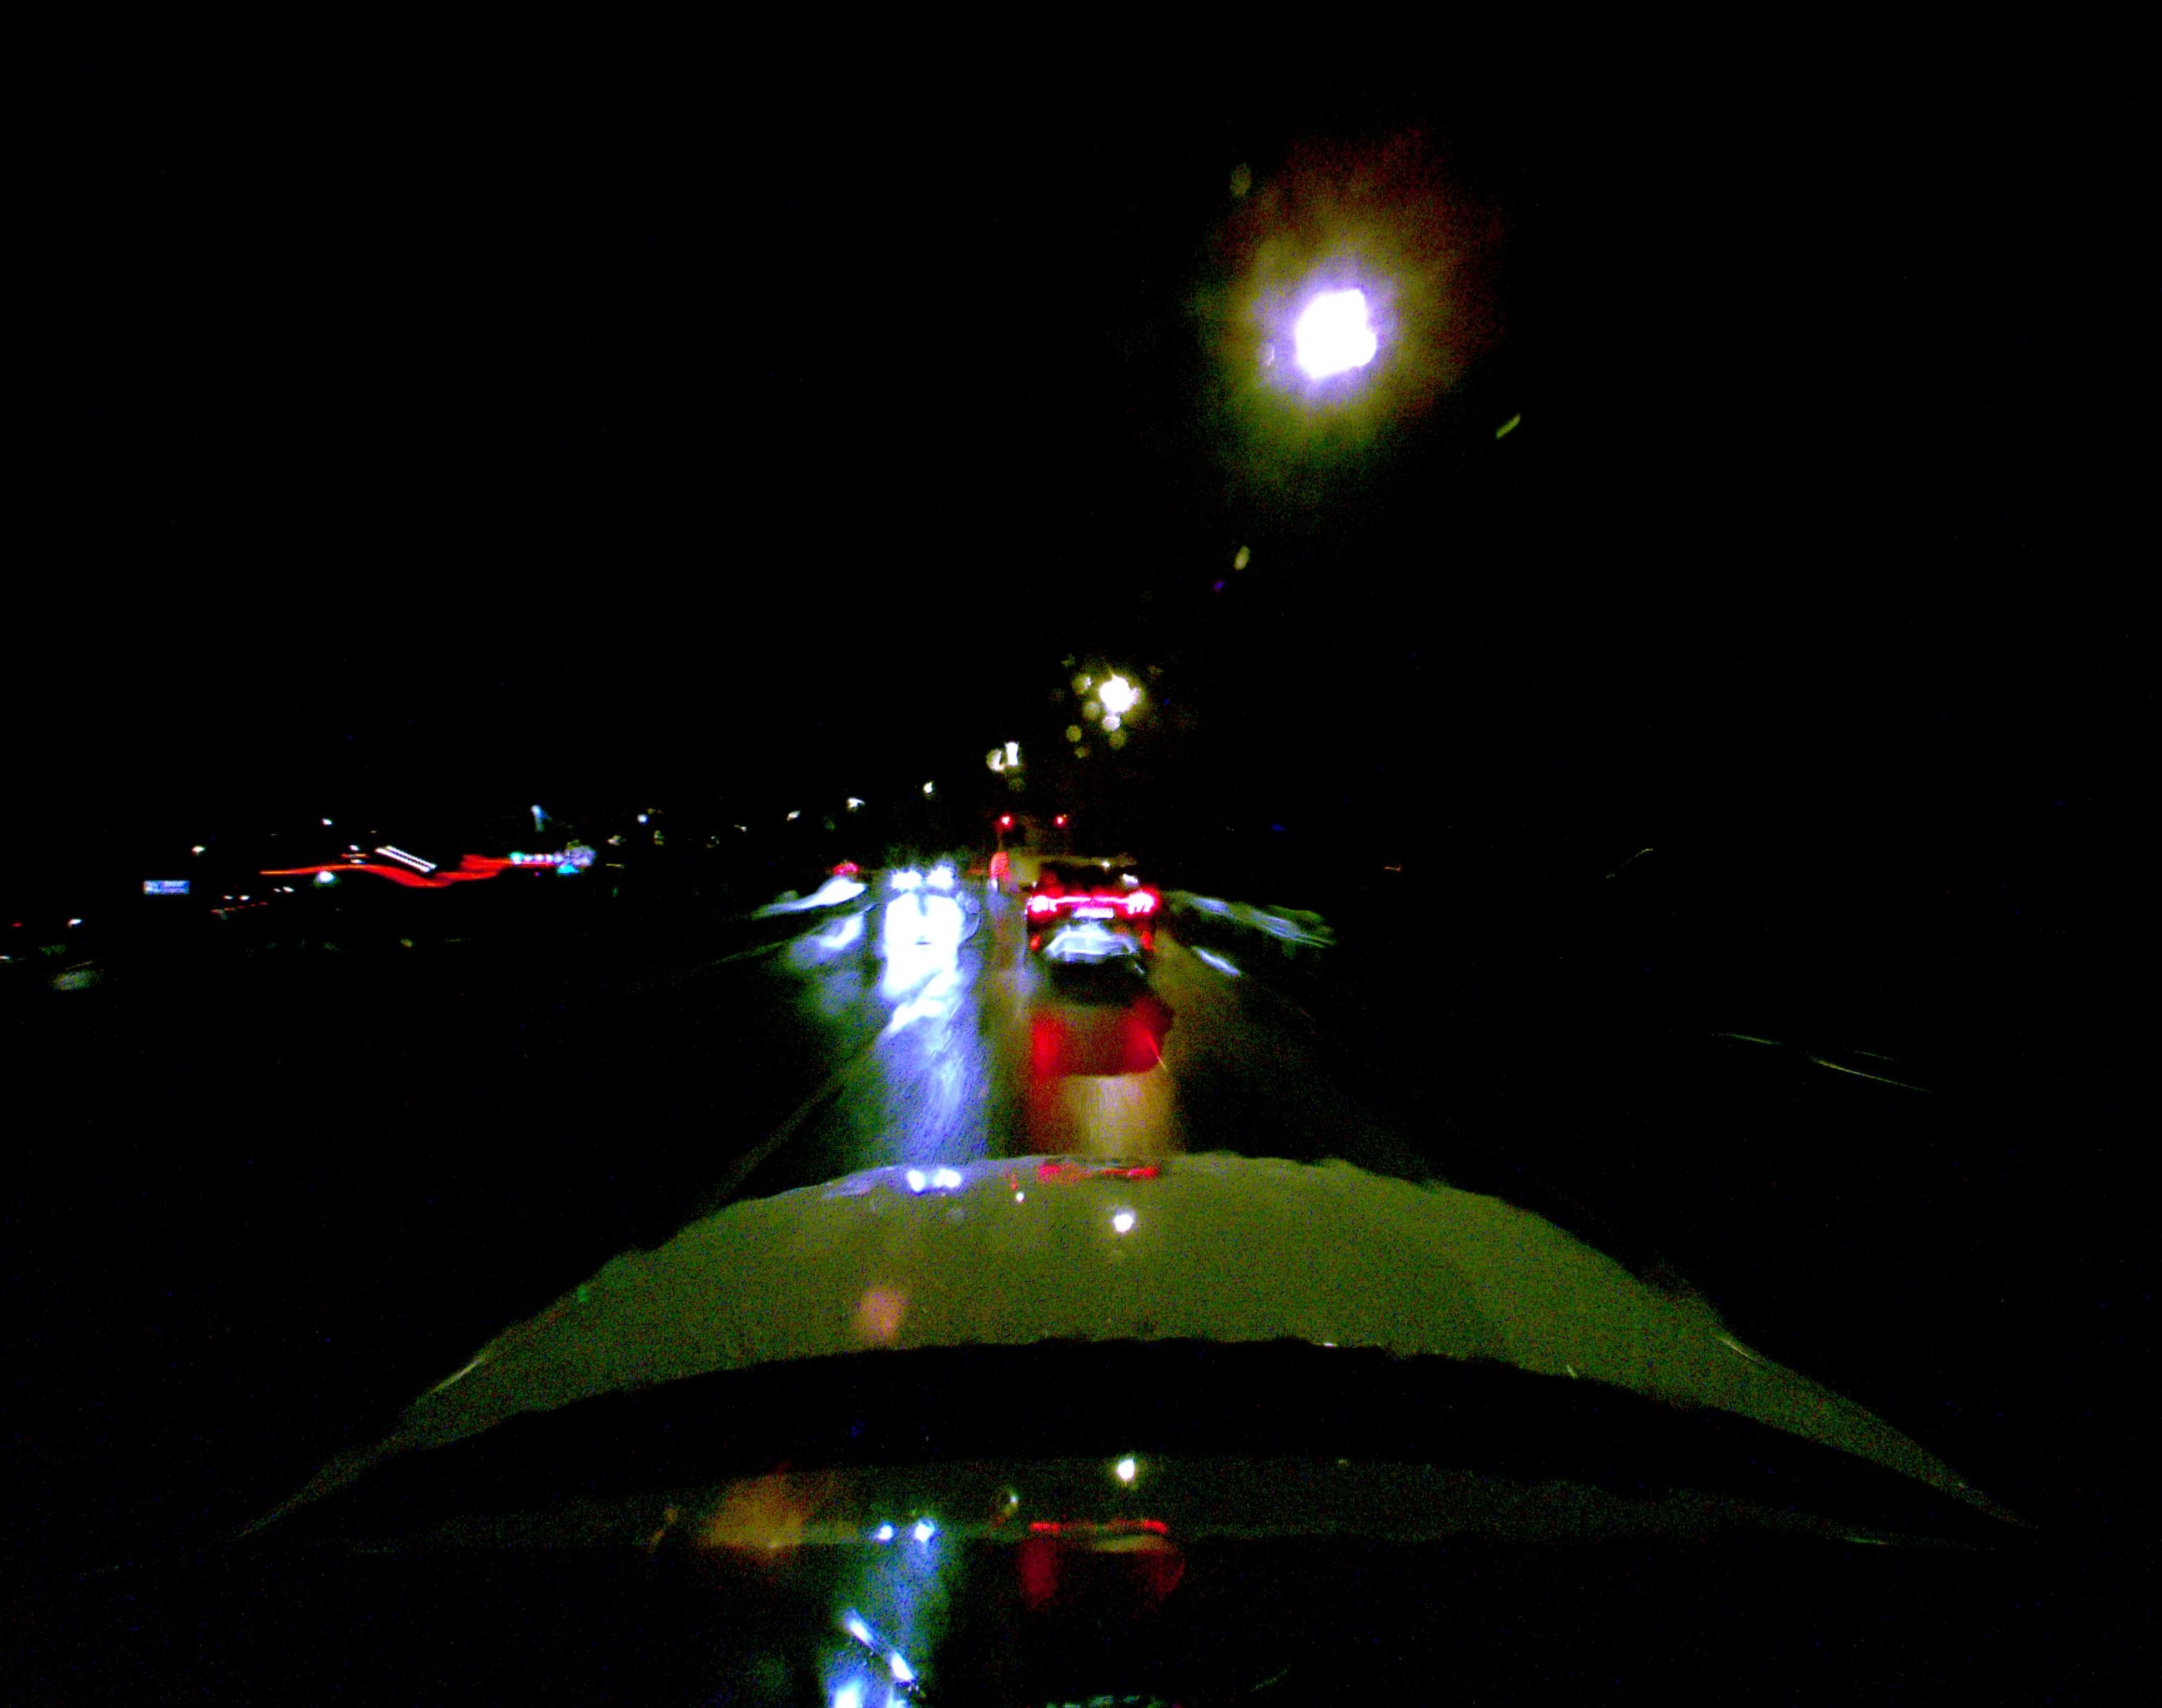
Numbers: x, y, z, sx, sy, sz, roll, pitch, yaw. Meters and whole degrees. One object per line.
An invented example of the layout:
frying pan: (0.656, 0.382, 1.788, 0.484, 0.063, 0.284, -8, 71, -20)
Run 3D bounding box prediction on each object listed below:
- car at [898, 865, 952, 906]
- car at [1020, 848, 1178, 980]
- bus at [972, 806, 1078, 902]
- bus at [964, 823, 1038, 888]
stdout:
car: (-6.825, 1.336, 36.019, 1.895, 1.567, 4.725, -1, 0, -6)
car: (0.079, 0.745, 11.987, 1.853, 1.586, 3.992, -1, 0, -6)
bus: (-2.692, 0.029, 33.770, 3.083, 3.133, 12.654, -2, 0, -10)
bus: (-4.494, 0.087, 44.033, 3.051, 3.132, 8.045, -2, 0, -12)
